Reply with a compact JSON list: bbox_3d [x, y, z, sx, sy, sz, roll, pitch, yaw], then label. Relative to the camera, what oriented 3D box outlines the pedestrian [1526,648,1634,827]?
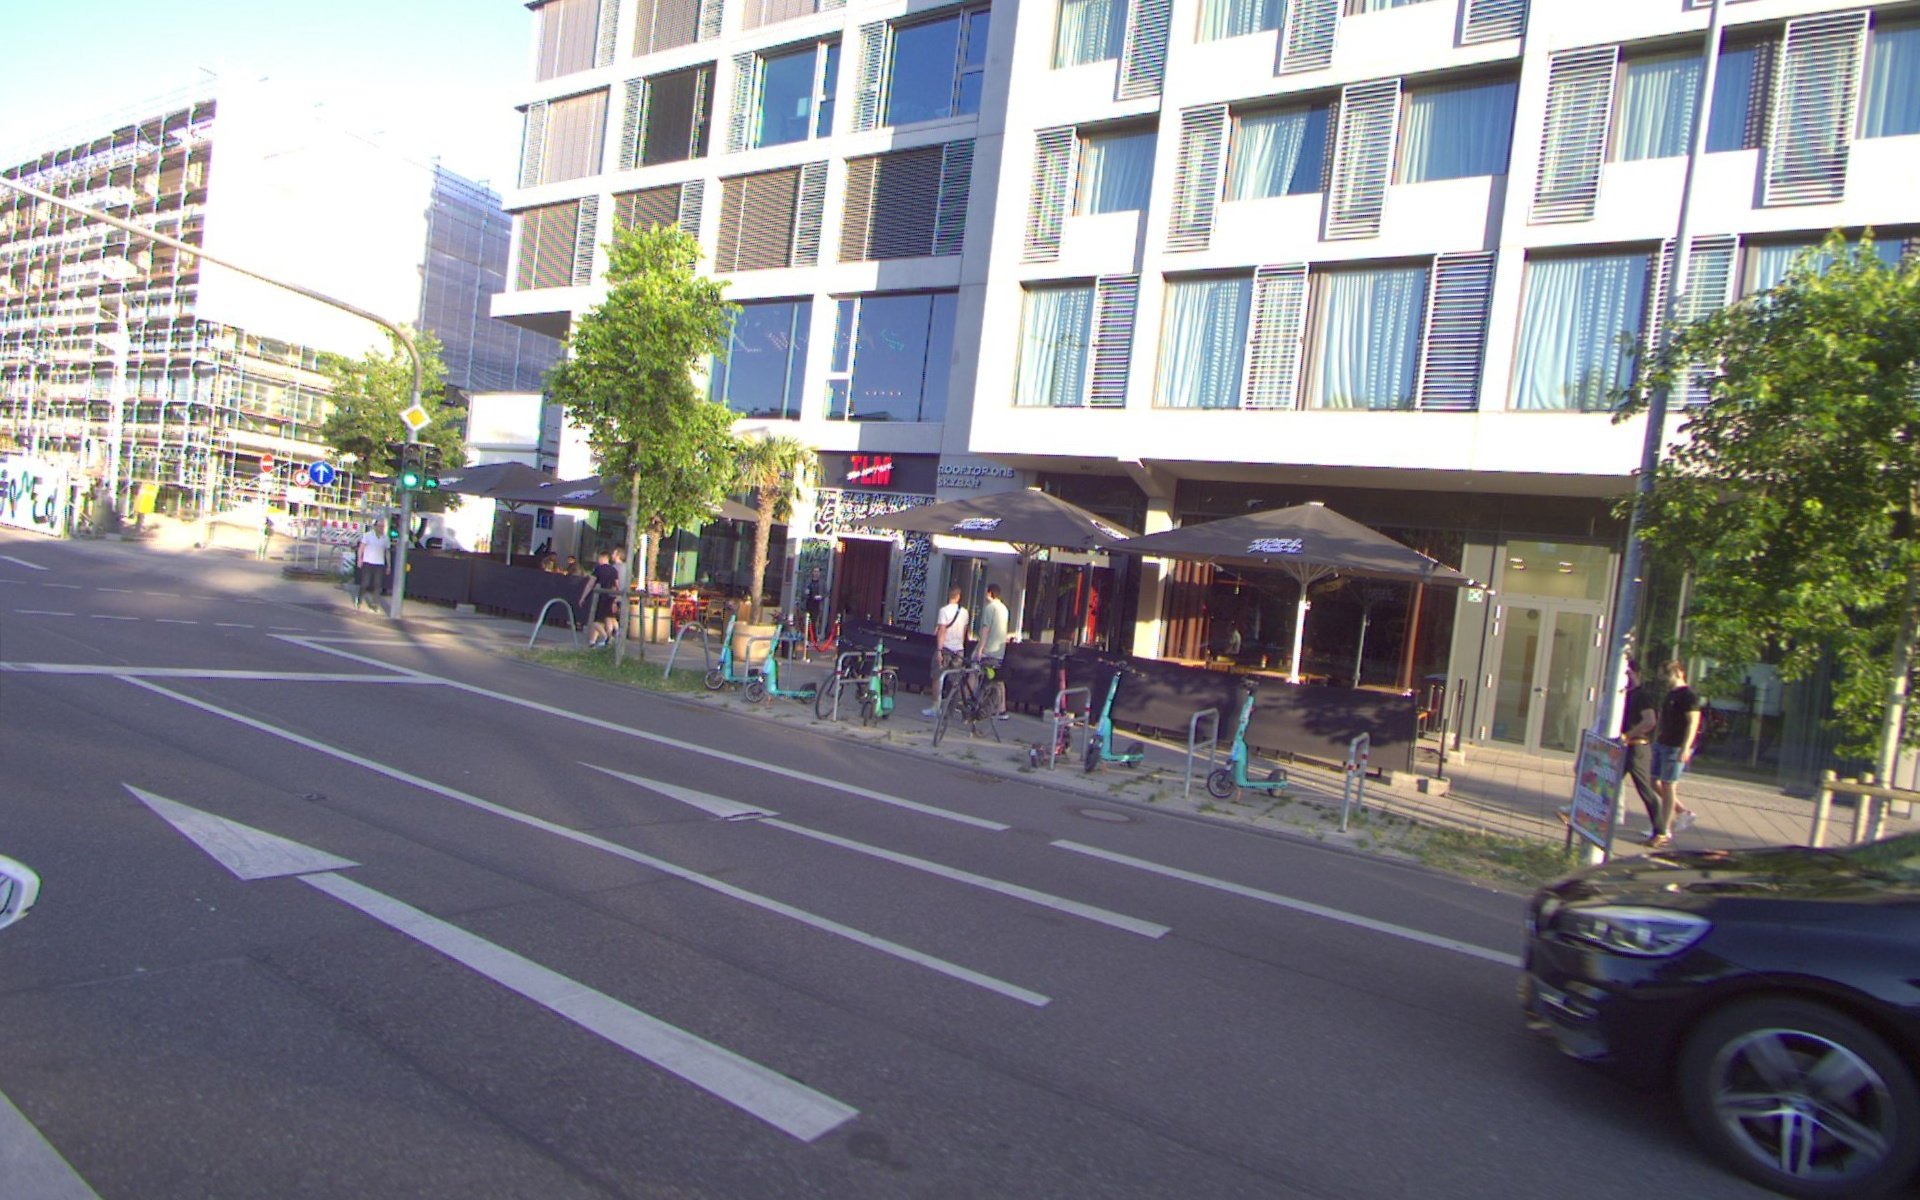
[{"bbox_3d":[6.918,1.497,11.233,0.765,1.837,0.617,8,4,40],"label":"pedestrian"}]

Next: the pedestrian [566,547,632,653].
[{"bbox_3d":[-6.195,0.005,17.265,0.677,1.725,0.654,8,3,30],"label":"pedestrian"}]

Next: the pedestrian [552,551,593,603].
[{"bbox_3d":[-10.655,-0.636,27.656,0.705,1.337,0.743,9,5,43],"label":"pedestrian"}]

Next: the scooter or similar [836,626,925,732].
[{"bbox_3d":[-0.984,0.968,12.728,0.471,1.218,1.211,7,3,26],"label":"scooter or similar"}]

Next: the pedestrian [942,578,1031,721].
[{"bbox_3d":[0.384,0.697,14.466,0.851,1.913,0.825,6,2,29],"label":"pedestrian"}]

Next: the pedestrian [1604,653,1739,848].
[{"bbox_3d":[7.511,1.542,10.626,0.927,1.849,0.755,8,3,40],"label":"pedestrian"}]

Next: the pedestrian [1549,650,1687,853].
[{"bbox_3d":[6.751,1.504,10.325,0.927,1.874,0.742,7,4,40],"label":"pedestrian"}]

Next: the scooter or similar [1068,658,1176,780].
[{"bbox_3d":[1.812,1.293,11.188,1.123,1.230,0.525,3,2,-45],"label":"scooter or similar"}]

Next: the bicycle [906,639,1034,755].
[{"bbox_3d":[0.163,1.110,12.053,0.598,1.198,1.847,8,3,30],"label":"bicycle"}]

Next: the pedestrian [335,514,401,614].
[{"bbox_3d":[-11.746,-0.696,19.963,0.667,1.872,0.769,8,2,30],"label":"pedestrian"}]

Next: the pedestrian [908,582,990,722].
[{"bbox_3d":[-0.155,0.703,13.875,0.814,1.810,0.577,6,2,26],"label":"pedestrian"}]

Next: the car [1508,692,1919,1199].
[{"bbox_3d":[4.578,1.436,3.263,4.712,1.537,1.824,7,-1,32],"label":"car"}]

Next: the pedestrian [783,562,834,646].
[{"bbox_3d":[-3.274,0.096,21.764,0.567,1.726,0.855,7,2,22],"label":"pedestrian"}]

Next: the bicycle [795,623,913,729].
[{"bbox_3d":[-1.331,0.937,13.028,0.557,1.210,1.795,7,3,26],"label":"bicycle"}]

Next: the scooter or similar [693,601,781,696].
[{"bbox_3d":[-3.165,0.674,14.342,0.588,1.240,1.053,7,3,26],"label":"scooter or similar"}]

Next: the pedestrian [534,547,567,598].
[{"bbox_3d":[-11.432,-0.758,28.076,0.609,1.337,0.613,2,5,-41],"label":"pedestrian"}]

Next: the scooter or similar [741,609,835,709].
[{"bbox_3d":[-2.303,0.784,13.532,0.542,1.240,1.059,8,3,40],"label":"scooter or similar"}]

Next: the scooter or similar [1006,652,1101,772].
[{"bbox_3d":[1.058,1.219,11.251,0.501,1.207,1.156,6,2,32],"label":"scooter or similar"}]

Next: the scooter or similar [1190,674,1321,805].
[{"bbox_3d":[3.090,1.426,10.480,1.283,1.235,0.530,3,3,-36],"label":"scooter or similar"}]

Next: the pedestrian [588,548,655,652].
[{"bbox_3d":[-6.066,-0.005,18.038,0.748,1.758,0.685,8,4,30],"label":"pedestrian"}]
